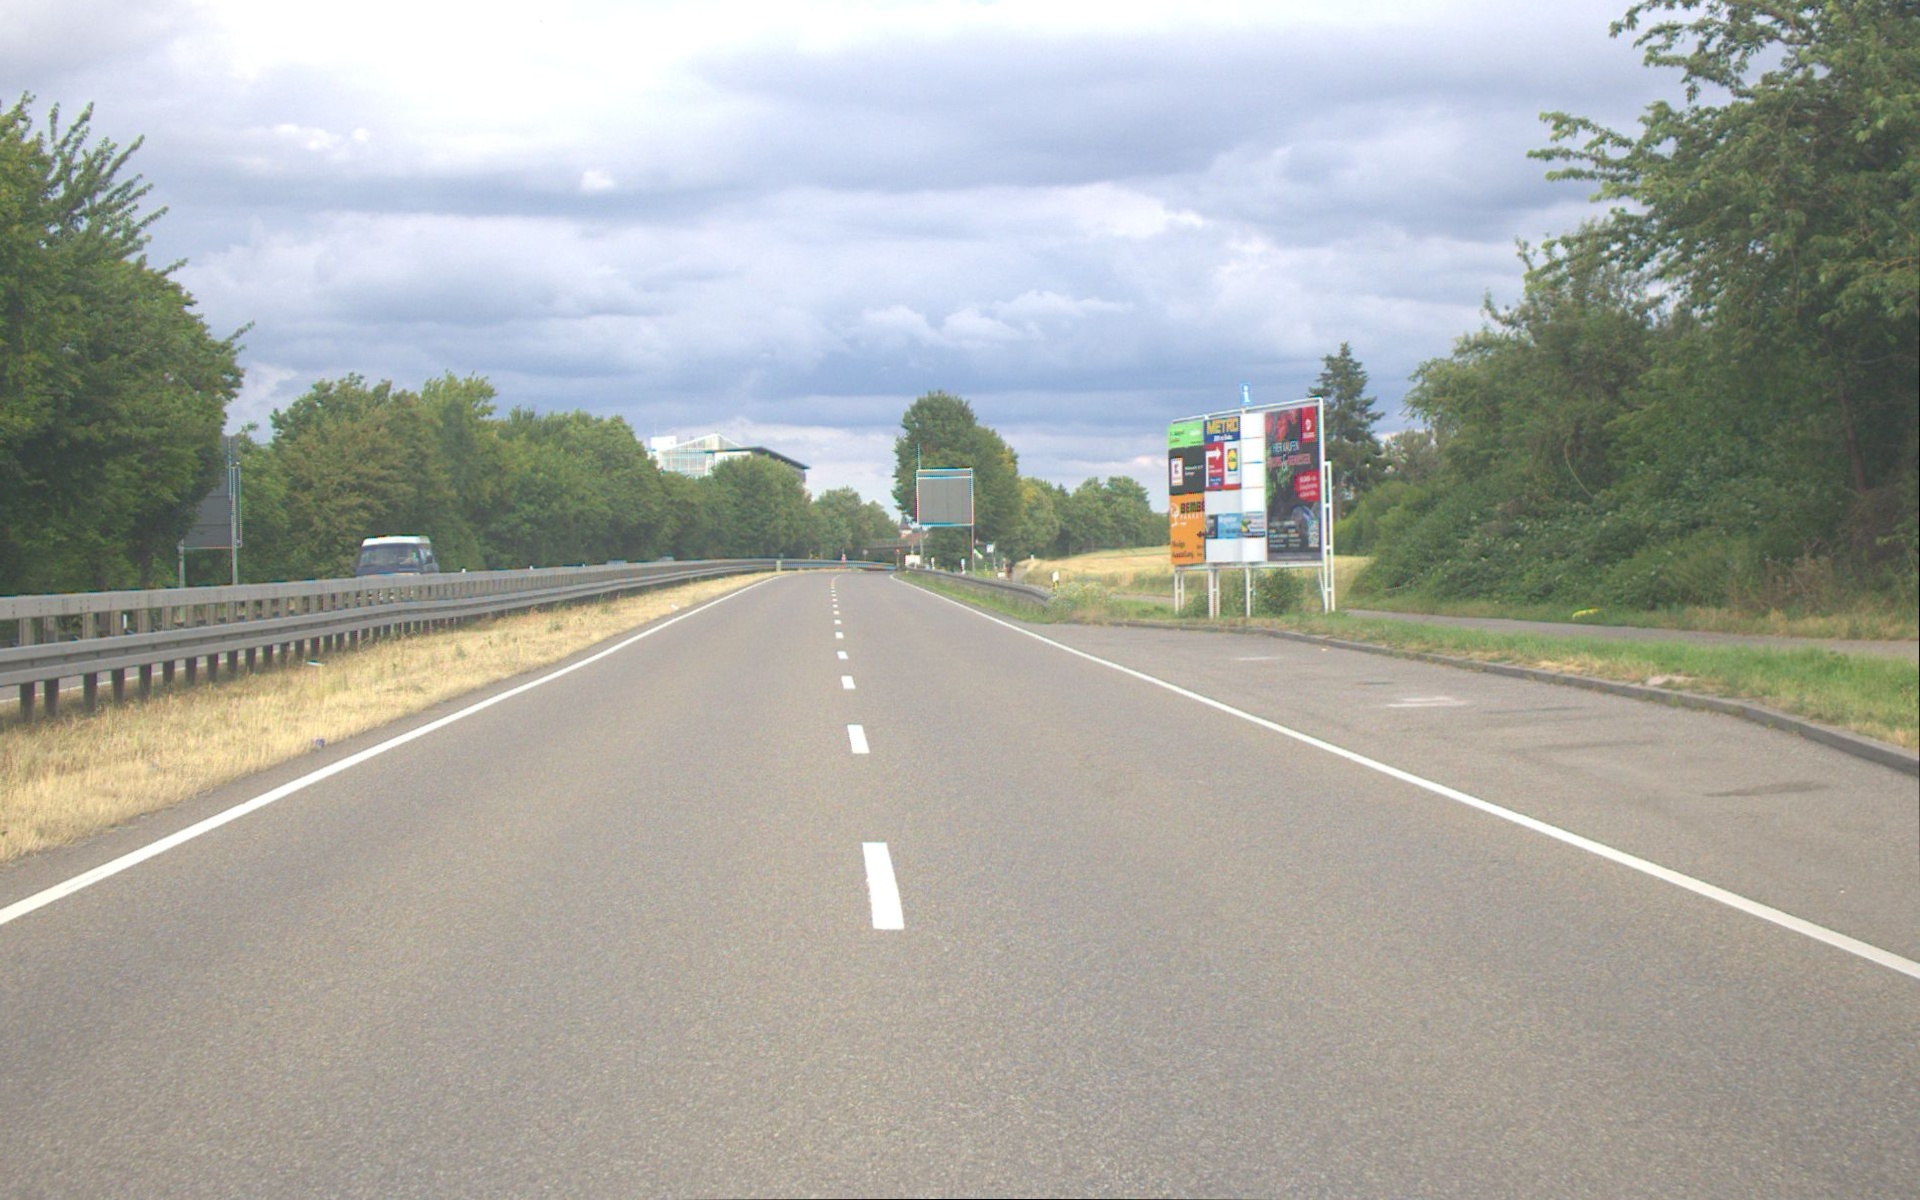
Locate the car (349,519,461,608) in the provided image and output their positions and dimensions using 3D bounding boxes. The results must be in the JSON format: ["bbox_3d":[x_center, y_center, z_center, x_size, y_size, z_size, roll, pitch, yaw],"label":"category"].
[{"bbox_3d":[-14.240,-0.959,88.489,1.993,2.133,5.319,-2,1,-1],"label":"car"}]
